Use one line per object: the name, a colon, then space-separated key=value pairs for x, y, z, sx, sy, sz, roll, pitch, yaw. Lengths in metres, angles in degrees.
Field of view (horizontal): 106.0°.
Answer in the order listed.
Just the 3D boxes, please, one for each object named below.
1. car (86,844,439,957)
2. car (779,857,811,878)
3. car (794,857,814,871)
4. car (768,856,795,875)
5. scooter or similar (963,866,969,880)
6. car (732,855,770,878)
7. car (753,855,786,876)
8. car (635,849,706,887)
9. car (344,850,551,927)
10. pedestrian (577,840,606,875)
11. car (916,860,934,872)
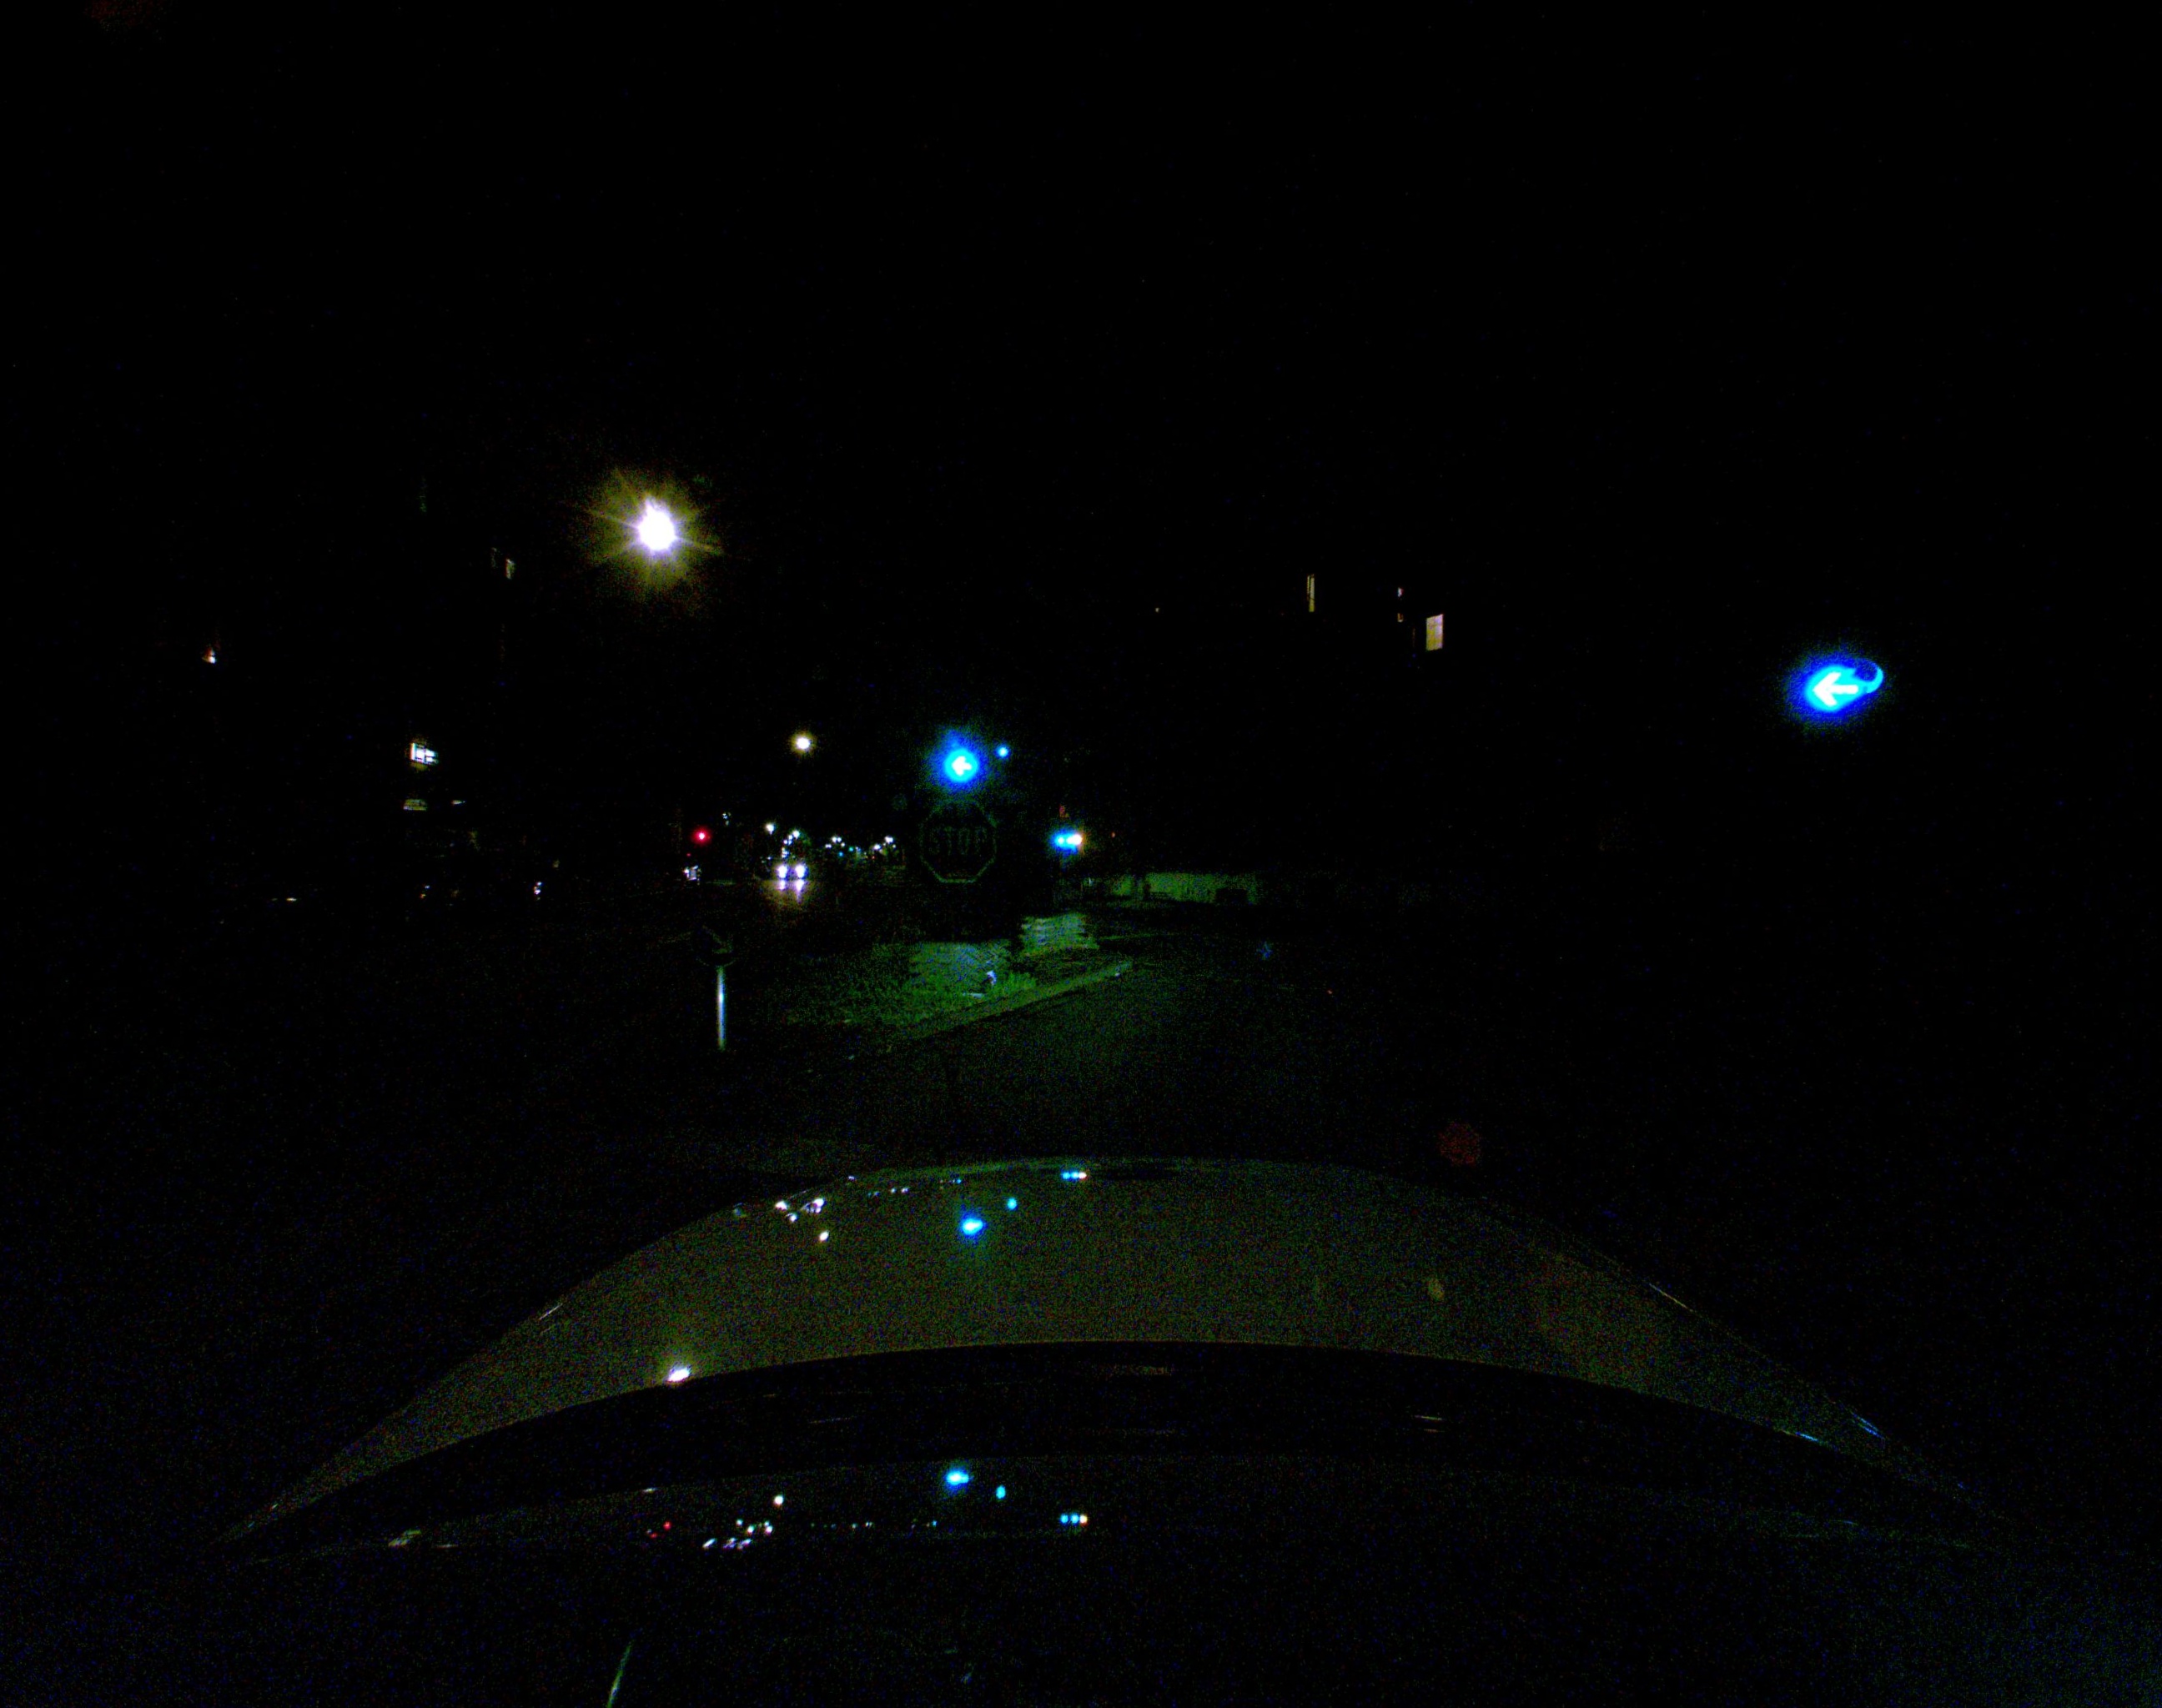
car: x=-12.713 y=0.659 z=13.169 sx=1.863 sy=1.479 sz=4.452 roll=2 pitch=-1 yaw=-13
car: x=-20.885 y=0.967 z=59.530 sx=1.717 sy=1.429 sz=3.982 roll=0 pitch=0 yaw=-13
car: x=-31.685 y=1.115 z=93.372 sx=1.787 sy=1.416 sz=4.106 roll=3 pitch=-1 yaw=-15
car: x=-26.789 y=1.005 z=72.980 sx=1.787 sy=1.491 sz=3.980 roll=4 pitch=-1 yaw=-15
scooter or similar: x=-9.793 y=1.618 z=69.115 sx=0.421 sy=1.130 sz=1.490 roll=1 pitch=-1 yaw=-5
car: x=-23.832 y=0.906 z=58.899 sx=1.592 sy=1.491 sz=3.688 roll=4 pitch=-1 yaw=-9
car: x=-25.567 y=0.939 z=66.971 sx=1.785 sy=1.491 sz=4.312 roll=4 pitch=-1 yaw=-11
car: x=-19.321 y=0.642 z=38.507 sx=1.887 sy=1.596 sz=4.007 roll=3 pitch=-1 yaw=-12
car: x=-13.775 y=0.702 z=18.103 sx=1.863 sy=1.433 sz=4.423 roll=3 pitch=-1 yaw=-13
pedestrian: x=-23.850 y=0.171 z=39.665 sx=0.708 sy=1.690 sz=1.123 roll=1 pitch=-1 yaw=-3
car: x=-20.174 y=1.584 z=104.948 sx=1.738 sy=1.460 sz=4.700 roll=2 pitch=-1 yaw=-17
